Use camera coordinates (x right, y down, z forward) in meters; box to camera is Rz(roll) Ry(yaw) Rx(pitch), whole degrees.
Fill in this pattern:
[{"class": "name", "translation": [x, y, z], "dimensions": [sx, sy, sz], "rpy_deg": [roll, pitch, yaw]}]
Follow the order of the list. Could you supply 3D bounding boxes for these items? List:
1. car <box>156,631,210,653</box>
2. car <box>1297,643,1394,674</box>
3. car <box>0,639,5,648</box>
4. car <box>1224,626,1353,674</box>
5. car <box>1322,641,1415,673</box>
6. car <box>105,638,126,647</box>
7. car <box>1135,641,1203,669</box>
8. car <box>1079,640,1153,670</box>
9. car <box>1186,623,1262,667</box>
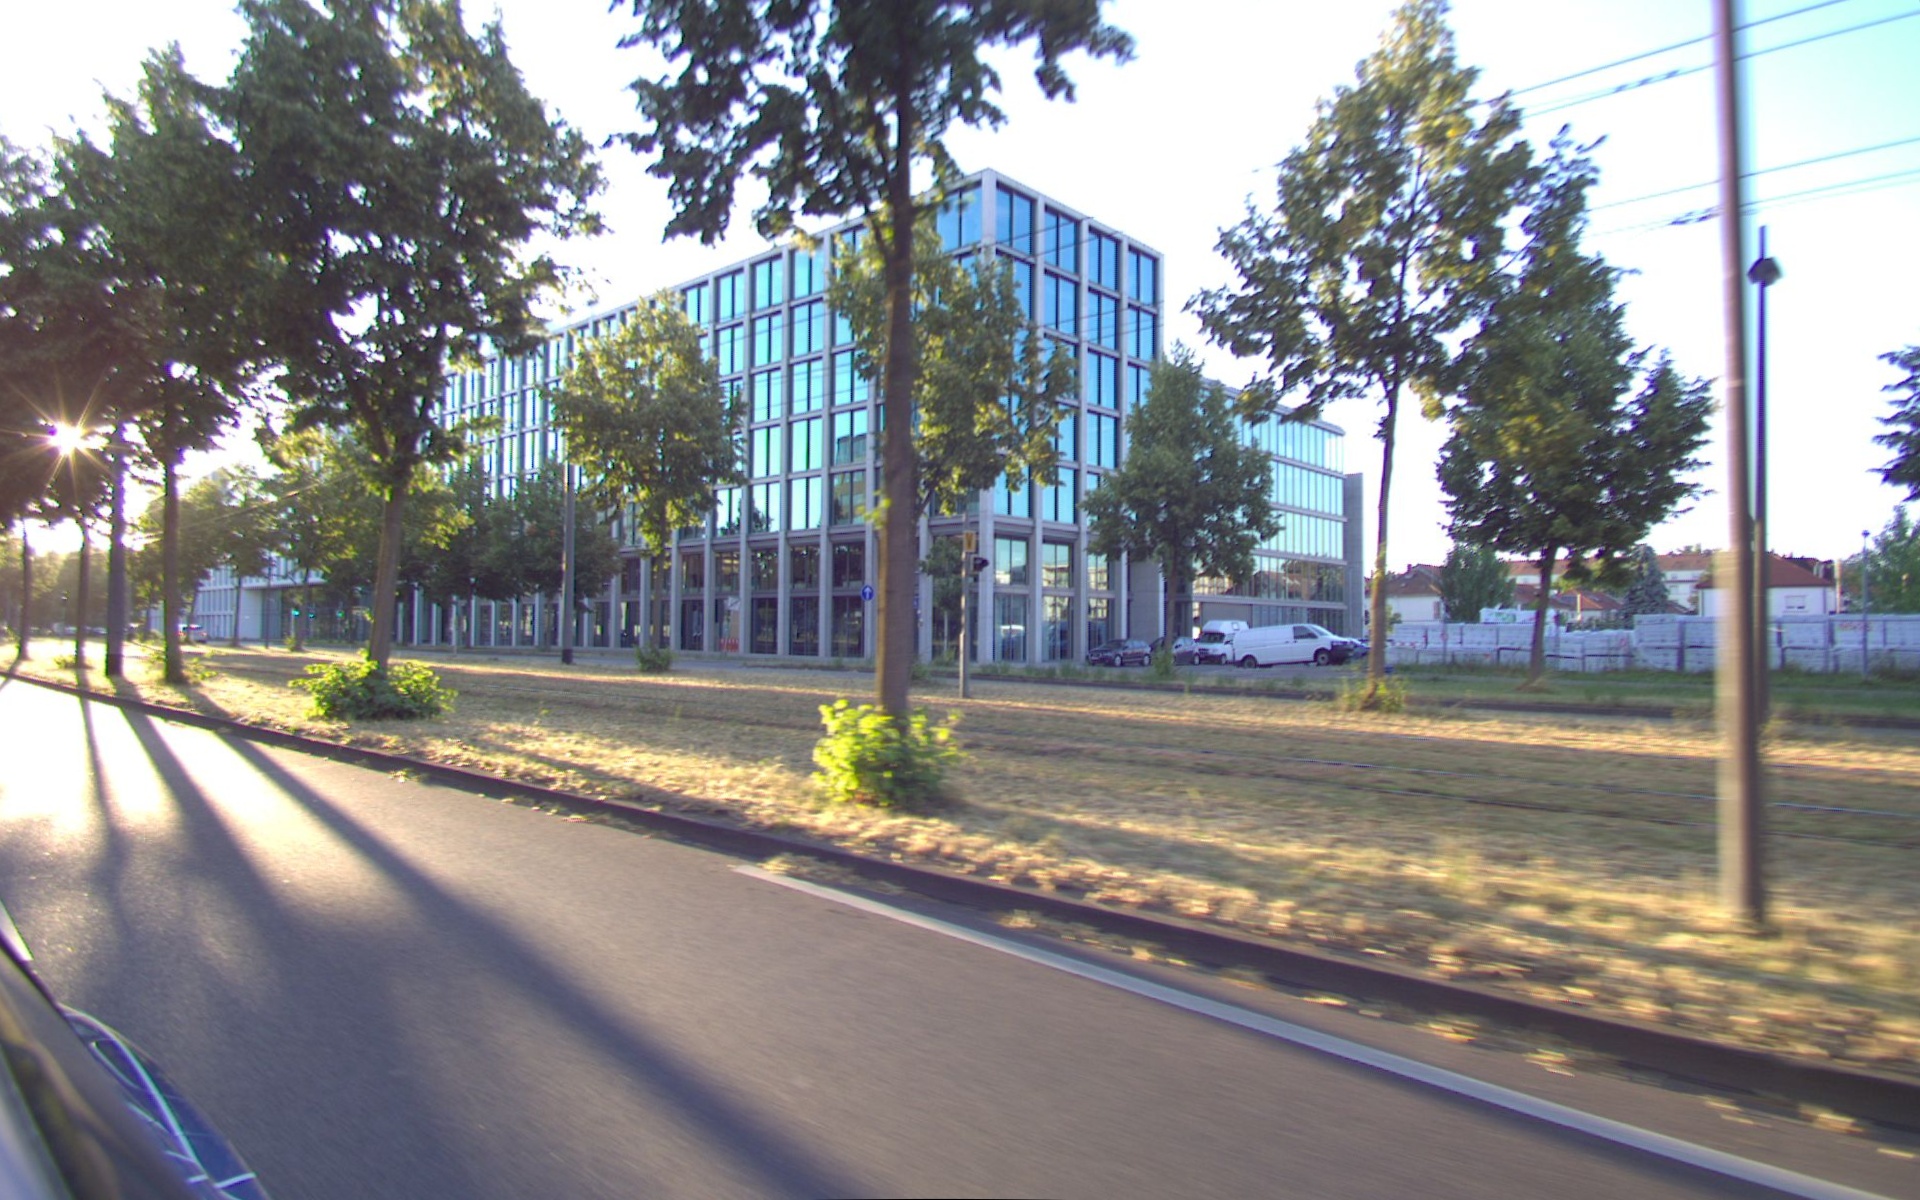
[{"class": "car", "translation": [-54.552, 2.903, 71.017], "dimensions": [4.625, 1.497, 1.884], "rpy_deg": [-2, -3, 38]}, {"class": "car", "translation": [18.682, 2.816, 49.137], "dimensions": [3.997, 1.429, 1.973], "rpy_deg": [-1, -3, 40]}, {"class": "car", "translation": [-147.589, 6.630, 154.710], "dimensions": [3.993, 1.460, 1.625], "rpy_deg": [-2, -3, 37]}, {"class": "car", "translation": [14.673, 2.207, 45.334], "dimensions": [5.080, 2.029, 2.184], "rpy_deg": [-1, -3, 40]}, {"class": "car", "translation": [20.741, 2.851, 51.452], "dimensions": [3.997, 1.521, 1.973], "rpy_deg": [-1, -3, 40]}, {"class": "car", "translation": [-131.745, 6.686, 157.847], "dimensions": [3.995, 1.414, 1.742], "rpy_deg": [-2, -3, 38]}, {"class": "car", "translation": [11.486, 2.992, 55.517], "dimensions": [1.895, 1.457, 3.942], "rpy_deg": [-2, -3, 44]}, {"class": "car", "translation": [8.034, 2.813, 51.975], "dimensions": [1.894, 1.457, 3.943], "rpy_deg": [-2, -3, 43]}, {"class": "car", "translation": [15.634, 2.659, 59.741], "dimensions": [1.973, 2.486, 5.420], "rpy_deg": [-2, -3, 44]}]
